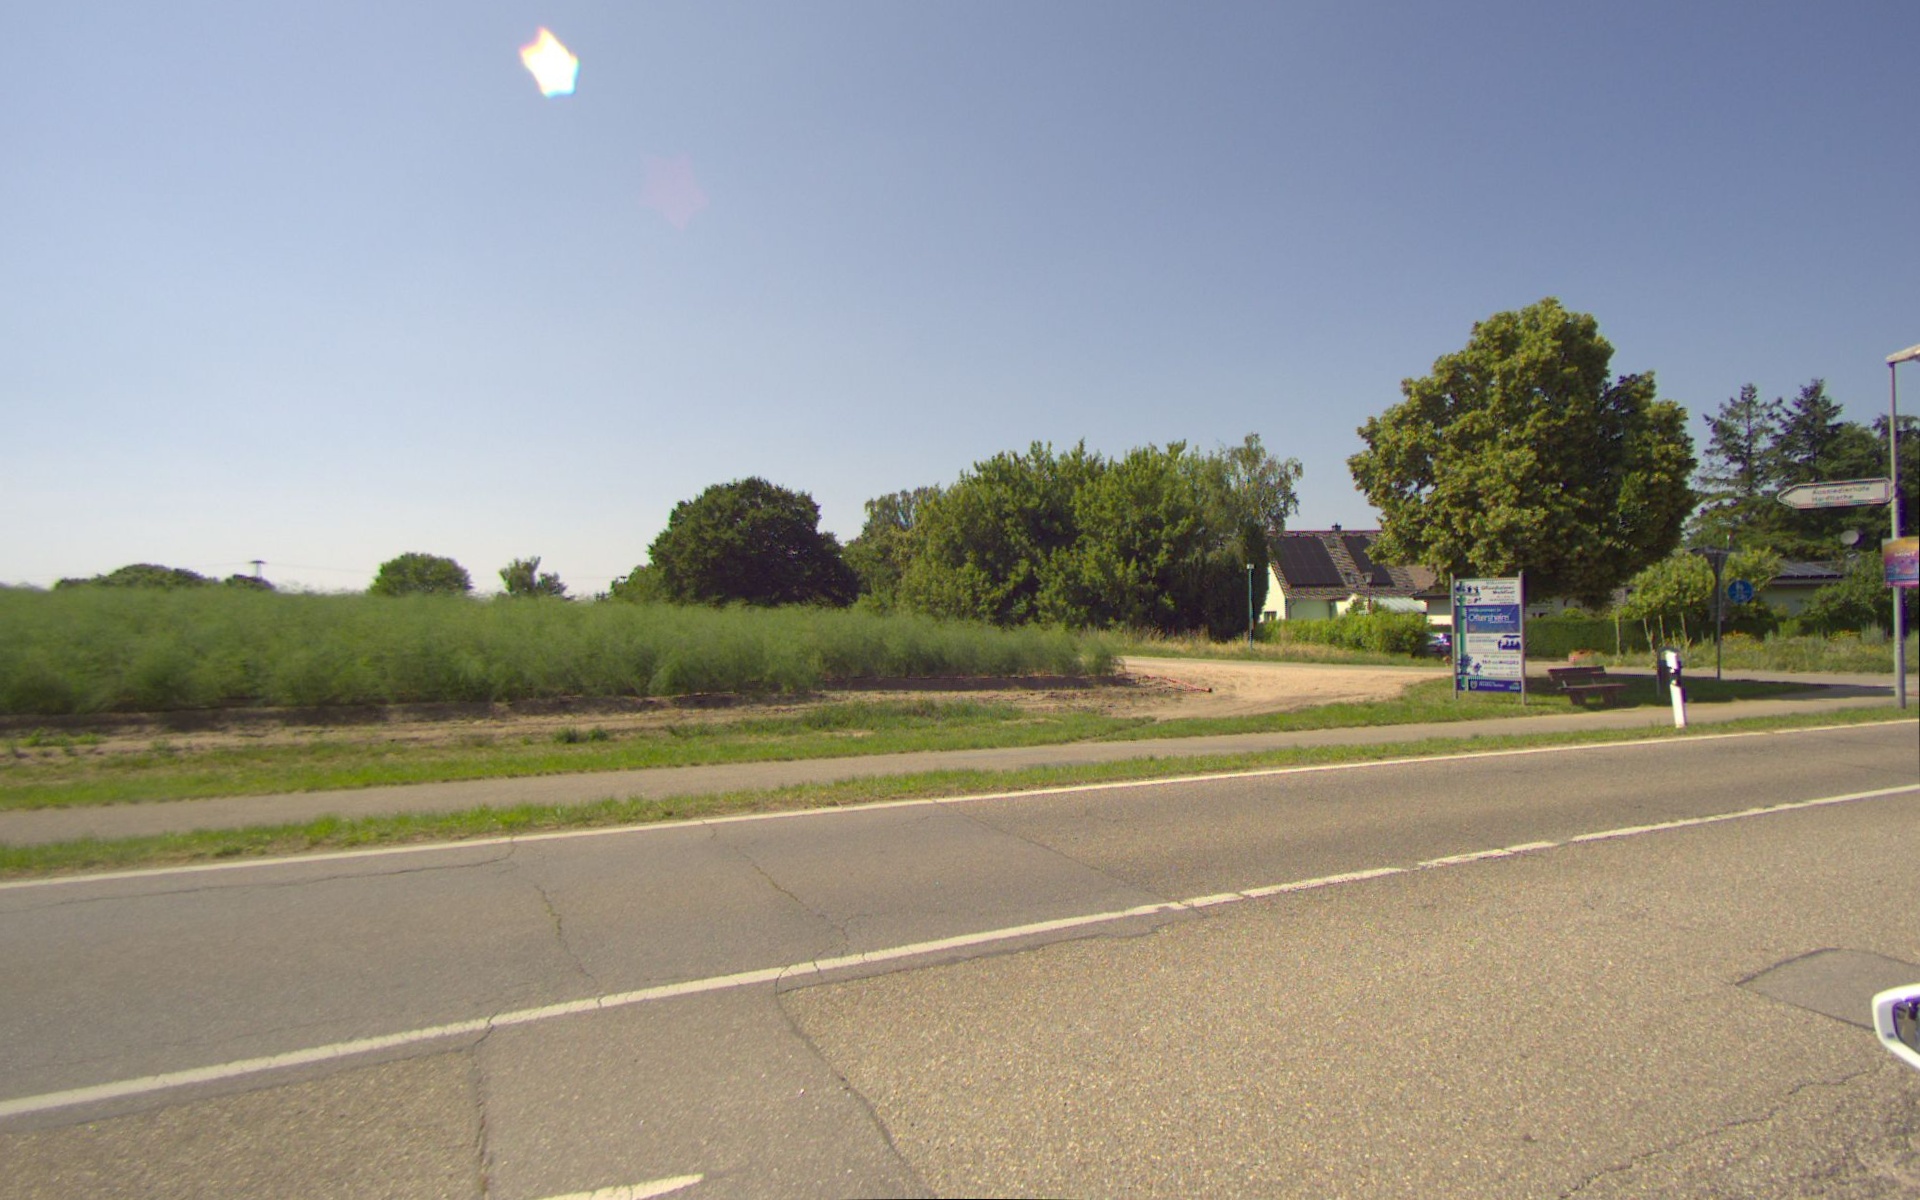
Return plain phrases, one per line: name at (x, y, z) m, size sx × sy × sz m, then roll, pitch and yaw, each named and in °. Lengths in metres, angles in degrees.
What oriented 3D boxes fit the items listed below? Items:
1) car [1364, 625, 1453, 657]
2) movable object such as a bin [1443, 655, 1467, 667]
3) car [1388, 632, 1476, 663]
car at (22.337, 2.058, 50.226) m, size 1.966 × 1.539 × 4.090 m, roll 0°, pitch -2°, yaw -14°
movable object such as a bin at (18.897, 2.326, 38.365) m, size 0.749 × 0.416 × 0.320 m, roll 0°, pitch -1°, yaw 13°
car at (25.364, 2.530, 54.094) m, size 1.857 × 1.539 × 3.974 m, roll -1°, pitch -2°, yaw -26°
